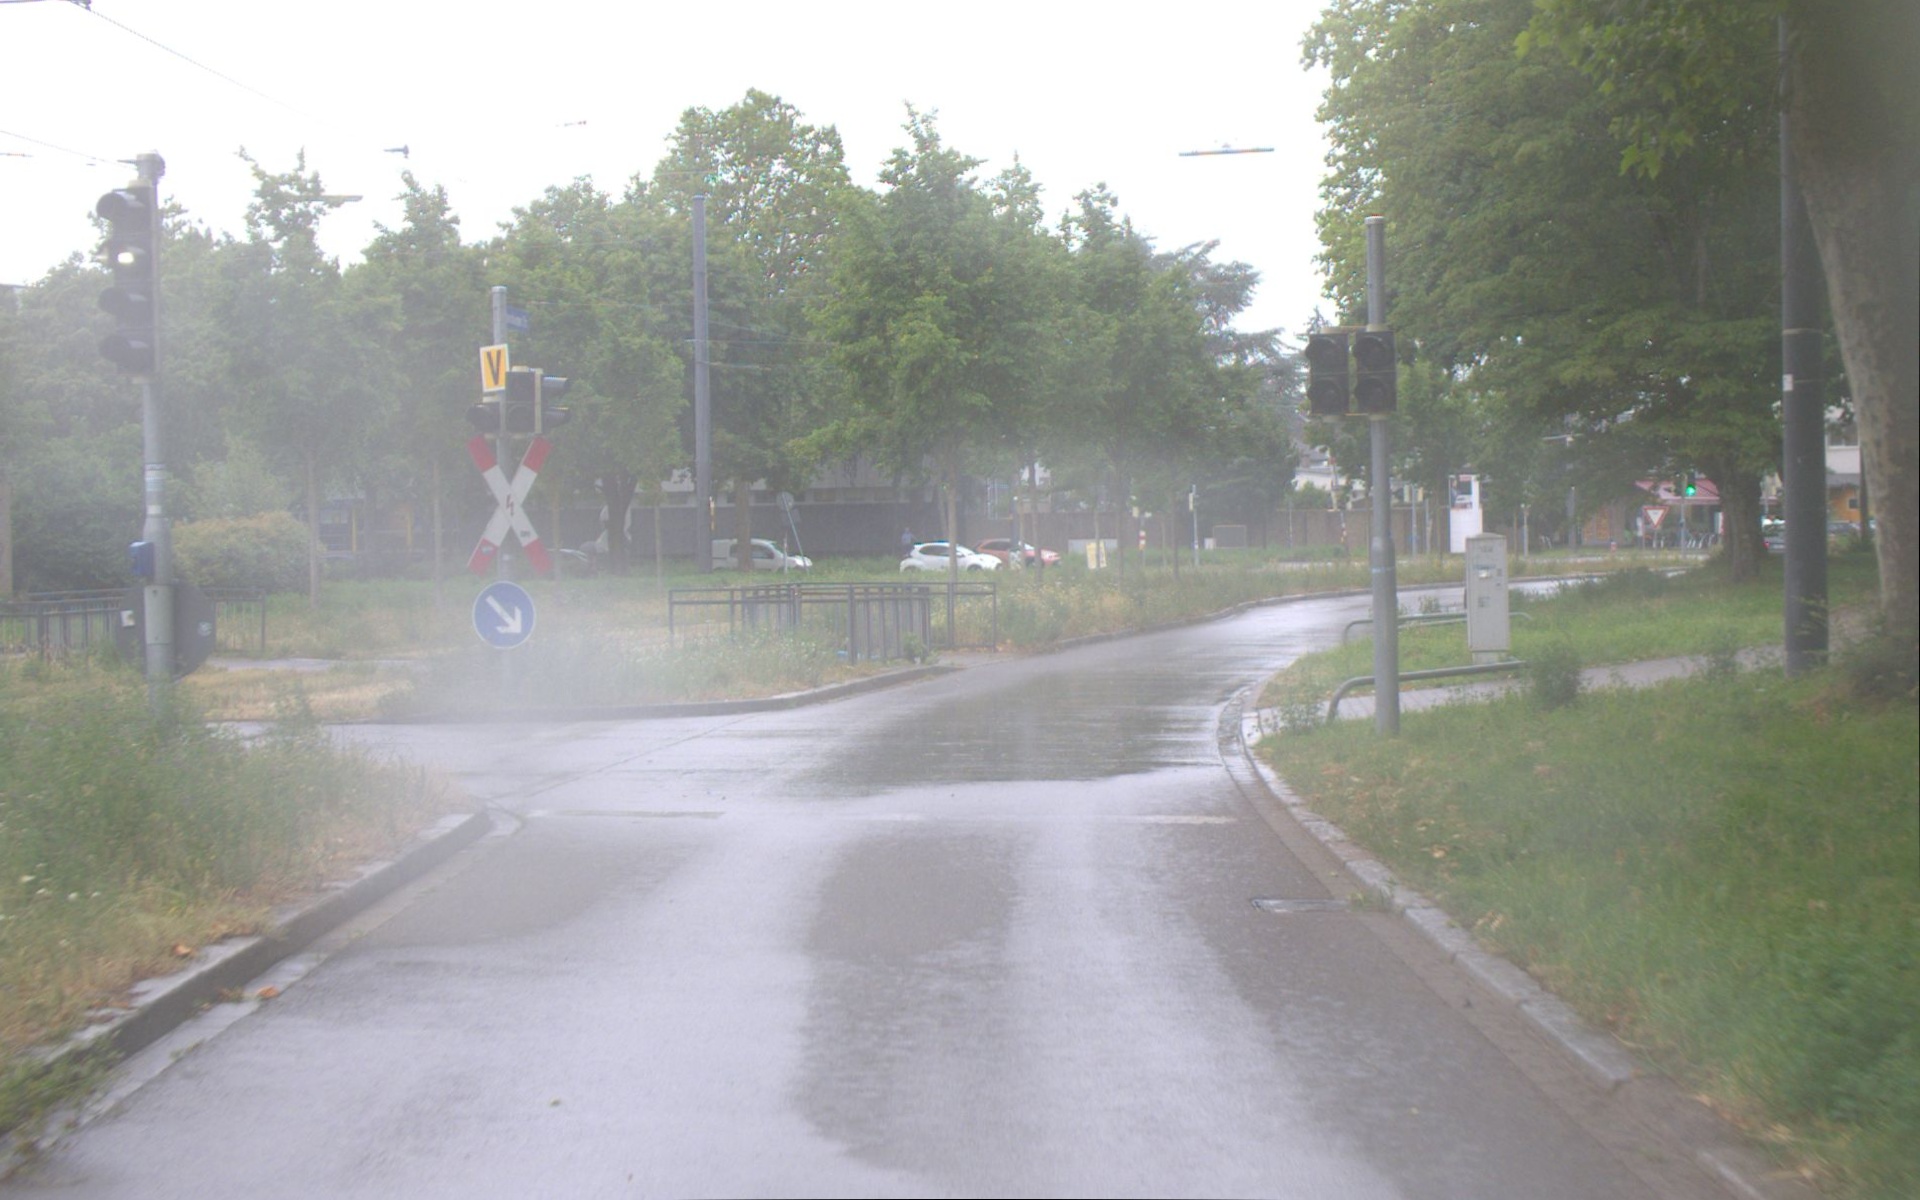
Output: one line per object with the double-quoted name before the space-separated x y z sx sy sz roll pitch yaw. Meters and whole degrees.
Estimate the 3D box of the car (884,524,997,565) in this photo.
"car" -0.742 -2.158 134.030 4.068 1.494 1.651 -1 1 16

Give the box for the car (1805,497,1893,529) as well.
"car" 43.045 -4.195 166.539 3.756 1.437 1.760 -1 1 31

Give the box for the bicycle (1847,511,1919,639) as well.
"bicycle" 8.842 -0.258 32.577 0.711 1.138 1.971 -1 2 11

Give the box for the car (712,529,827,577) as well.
"car" -7.563 -1.855 136.372 4.213 1.790 1.651 -1 2 17

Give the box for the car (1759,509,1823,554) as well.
"car" 28.130 -2.333 116.449 1.684 1.415 3.814 -2 1 8

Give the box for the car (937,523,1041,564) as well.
"car" 1.148 -2.257 137.294 3.821 1.494 1.651 -1 1 16

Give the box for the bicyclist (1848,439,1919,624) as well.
"bicyclist" 8.829 -0.656 32.596 0.711 1.715 0.957 -1 2 11
